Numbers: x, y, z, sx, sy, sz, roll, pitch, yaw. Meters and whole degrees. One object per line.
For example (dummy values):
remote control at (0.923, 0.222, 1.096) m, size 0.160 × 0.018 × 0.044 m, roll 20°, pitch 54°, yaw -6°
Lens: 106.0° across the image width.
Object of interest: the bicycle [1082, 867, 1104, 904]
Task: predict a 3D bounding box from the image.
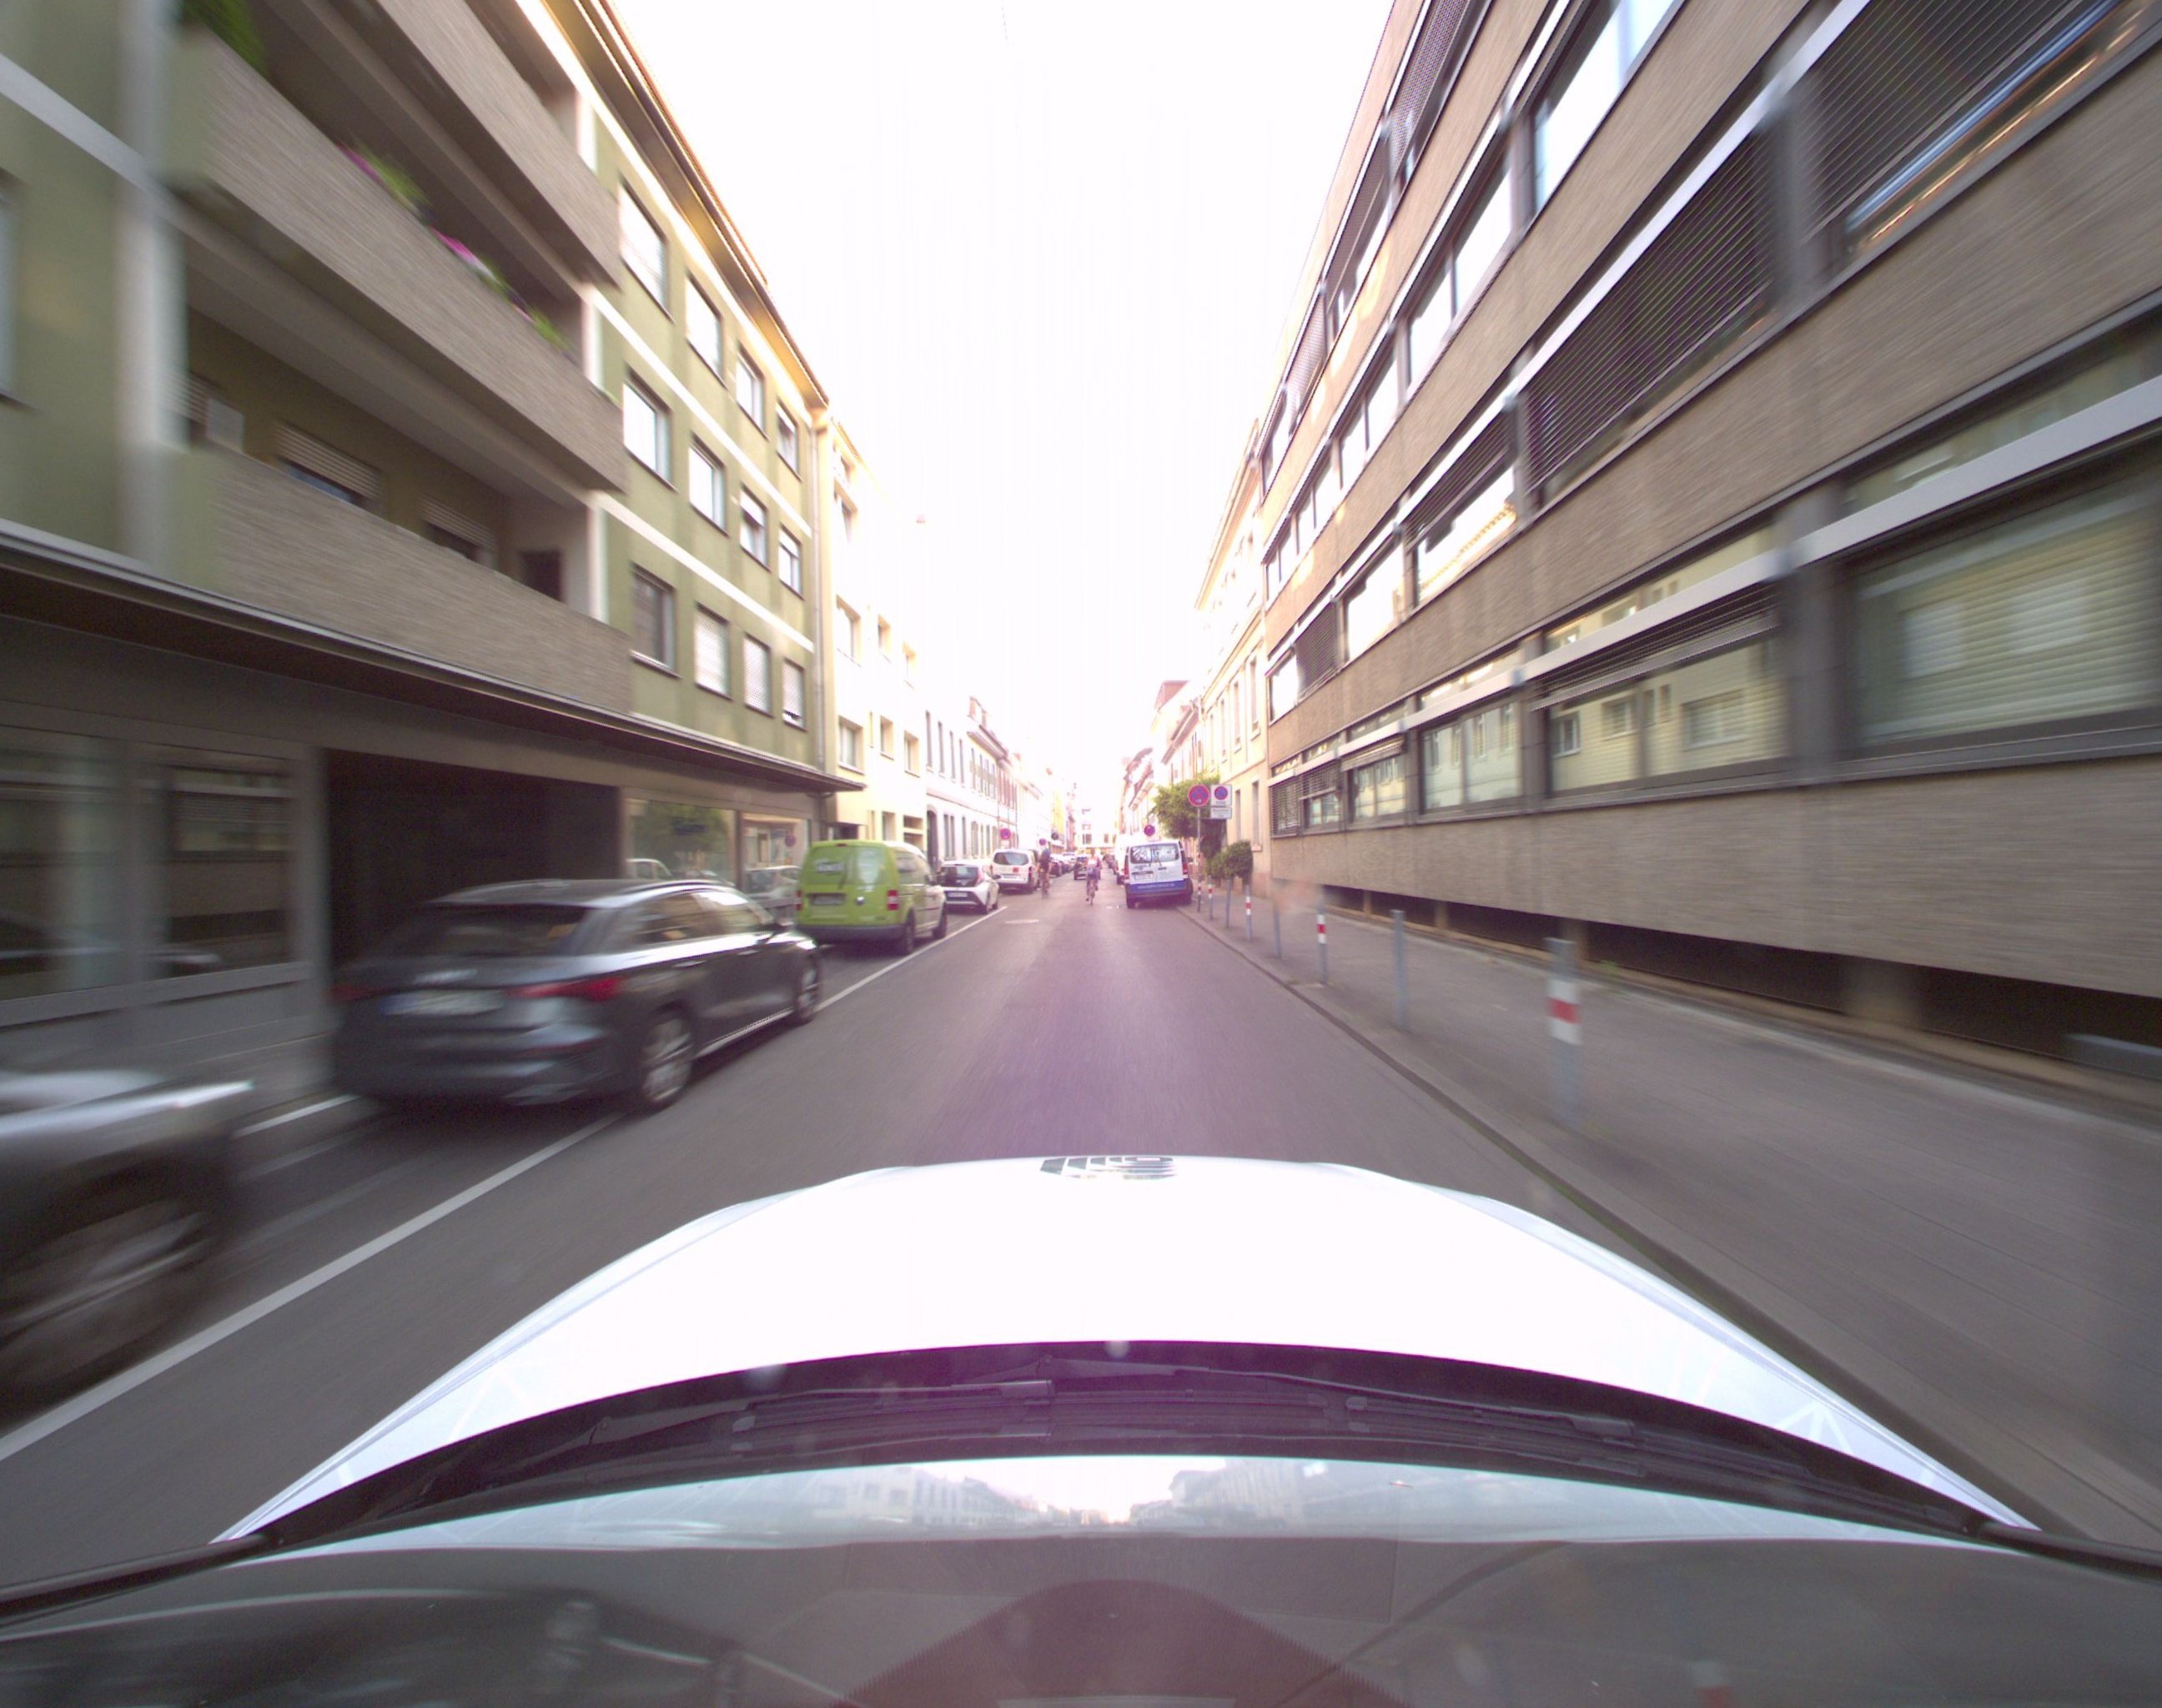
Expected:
bicycle at (0.388, 0.960, 25.502) m, size 0.611 × 1.082 × 1.810 m, roll -1°, pitch 0°, yaw 3°

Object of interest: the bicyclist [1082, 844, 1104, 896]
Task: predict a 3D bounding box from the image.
bicyclist at (0.376, 0.501, 25.579) m, size 0.618 × 1.574 × 0.684 m, roll -1°, pitch -1°, yaw 2°

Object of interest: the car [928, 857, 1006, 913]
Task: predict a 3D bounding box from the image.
car at (-3.214, 0.851, 23.614) m, size 1.656 × 1.449 × 3.521 m, roll 2°, pitch 0°, yaw 1°

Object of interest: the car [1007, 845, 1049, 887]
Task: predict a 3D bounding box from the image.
car at (-2.752, 0.615, 43.167) m, size 1.856 × 2.013 × 4.813 m, roll -2°, pitch 0°, yaw 0°

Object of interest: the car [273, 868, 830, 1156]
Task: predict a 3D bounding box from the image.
car at (-3.354, 0.849, 6.208) m, size 1.619 × 1.416 × 3.980 m, roll -1°, pitch 0°, yaw 0°

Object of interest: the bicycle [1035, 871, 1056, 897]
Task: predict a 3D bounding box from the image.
bicycle at (-1.346, 1.121, 31.159) m, size 0.631 × 0.922 × 1.780 m, roll -1°, pitch 0°, yaw 2°

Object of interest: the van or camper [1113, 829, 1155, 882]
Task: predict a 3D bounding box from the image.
van or camper at (2.861, 0.088, 45.138) m, size 2.042 × 2.637 × 7.067 m, roll -2°, pitch 0°, yaw 3°

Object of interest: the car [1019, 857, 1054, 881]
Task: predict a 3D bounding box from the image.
car at (-2.674, 0.894, 49.947) m, size 1.758 × 1.401 × 4.265 m, roll -1°, pitch 0°, yaw 2°

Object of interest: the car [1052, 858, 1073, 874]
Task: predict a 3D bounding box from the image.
car at (-1.750, 1.151, 77.942) m, size 1.912 × 1.434 × 4.293 m, roll 0°, pitch 0°, yaw 0°

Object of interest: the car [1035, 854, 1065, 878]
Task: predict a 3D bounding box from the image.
car at (-2.254, 0.862, 60.452) m, size 1.795 × 1.676 × 4.493 m, roll -2°, pitch 0°, yaw 3°

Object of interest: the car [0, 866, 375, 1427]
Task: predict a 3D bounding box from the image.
car at (-3.741, 0.810, 1.361) m, size 1.618 × 1.485 × 3.879 m, roll -2°, pitch 0°, yaw 2°

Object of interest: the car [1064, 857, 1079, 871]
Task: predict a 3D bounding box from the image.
car at (-1.081, 1.112, 94.720) m, size 1.647 × 1.561 × 3.607 m, roll 0°, pitch 0°, yaw 2°

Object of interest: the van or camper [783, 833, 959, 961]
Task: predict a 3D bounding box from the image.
van or camper at (-3.458, 0.651, 14.267) m, size 1.765 × 1.848 × 4.181 m, roll -2°, pitch 0°, yaw 2°

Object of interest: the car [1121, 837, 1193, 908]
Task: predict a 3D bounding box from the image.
car at (2.266, 0.516, 25.206) m, size 1.928 × 1.898 × 5.281 m, roll -2°, pitch 0°, yaw 3°

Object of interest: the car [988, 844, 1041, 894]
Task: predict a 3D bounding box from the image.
car at (-2.896, 0.642, 36.491) m, size 1.856 × 2.013 × 5.105 m, roll -2°, pitch 0°, yaw 0°

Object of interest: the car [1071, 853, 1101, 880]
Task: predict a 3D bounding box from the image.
car at (0.364, 0.781, 52.597) m, size 1.813 × 1.618 × 4.001 m, roll 0°, pitch 0°, yaw 1°

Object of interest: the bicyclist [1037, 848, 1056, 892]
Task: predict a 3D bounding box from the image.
bicyclist at (-1.323, 0.612, 31.184) m, size 0.621 × 1.639 × 1.082 m, roll -1°, pitch -1°, yaw 2°

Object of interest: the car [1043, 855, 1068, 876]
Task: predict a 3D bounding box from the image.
car at (-2.193, 0.987, 71.711) m, size 1.991 × 1.707 × 4.535 m, roll 0°, pitch 0°, yaw 0°

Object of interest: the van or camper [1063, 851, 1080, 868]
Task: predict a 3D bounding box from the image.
van or camper at (-1.147, 0.663, 100.575) m, size 1.837 × 2.013 × 4.680 m, roll 0°, pitch 0°, yaw 2°

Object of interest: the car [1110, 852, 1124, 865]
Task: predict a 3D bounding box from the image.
car at (4.178, 0.530, 94.967) m, size 1.647 × 1.561 × 3.607 m, roll 0°, pitch 0°, yaw 2°

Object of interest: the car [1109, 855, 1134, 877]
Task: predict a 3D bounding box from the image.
car at (3.259, 0.952, 65.200) m, size 1.812 × 1.530 × 5.075 m, roll -5°, pitch -1°, yaw 3°
